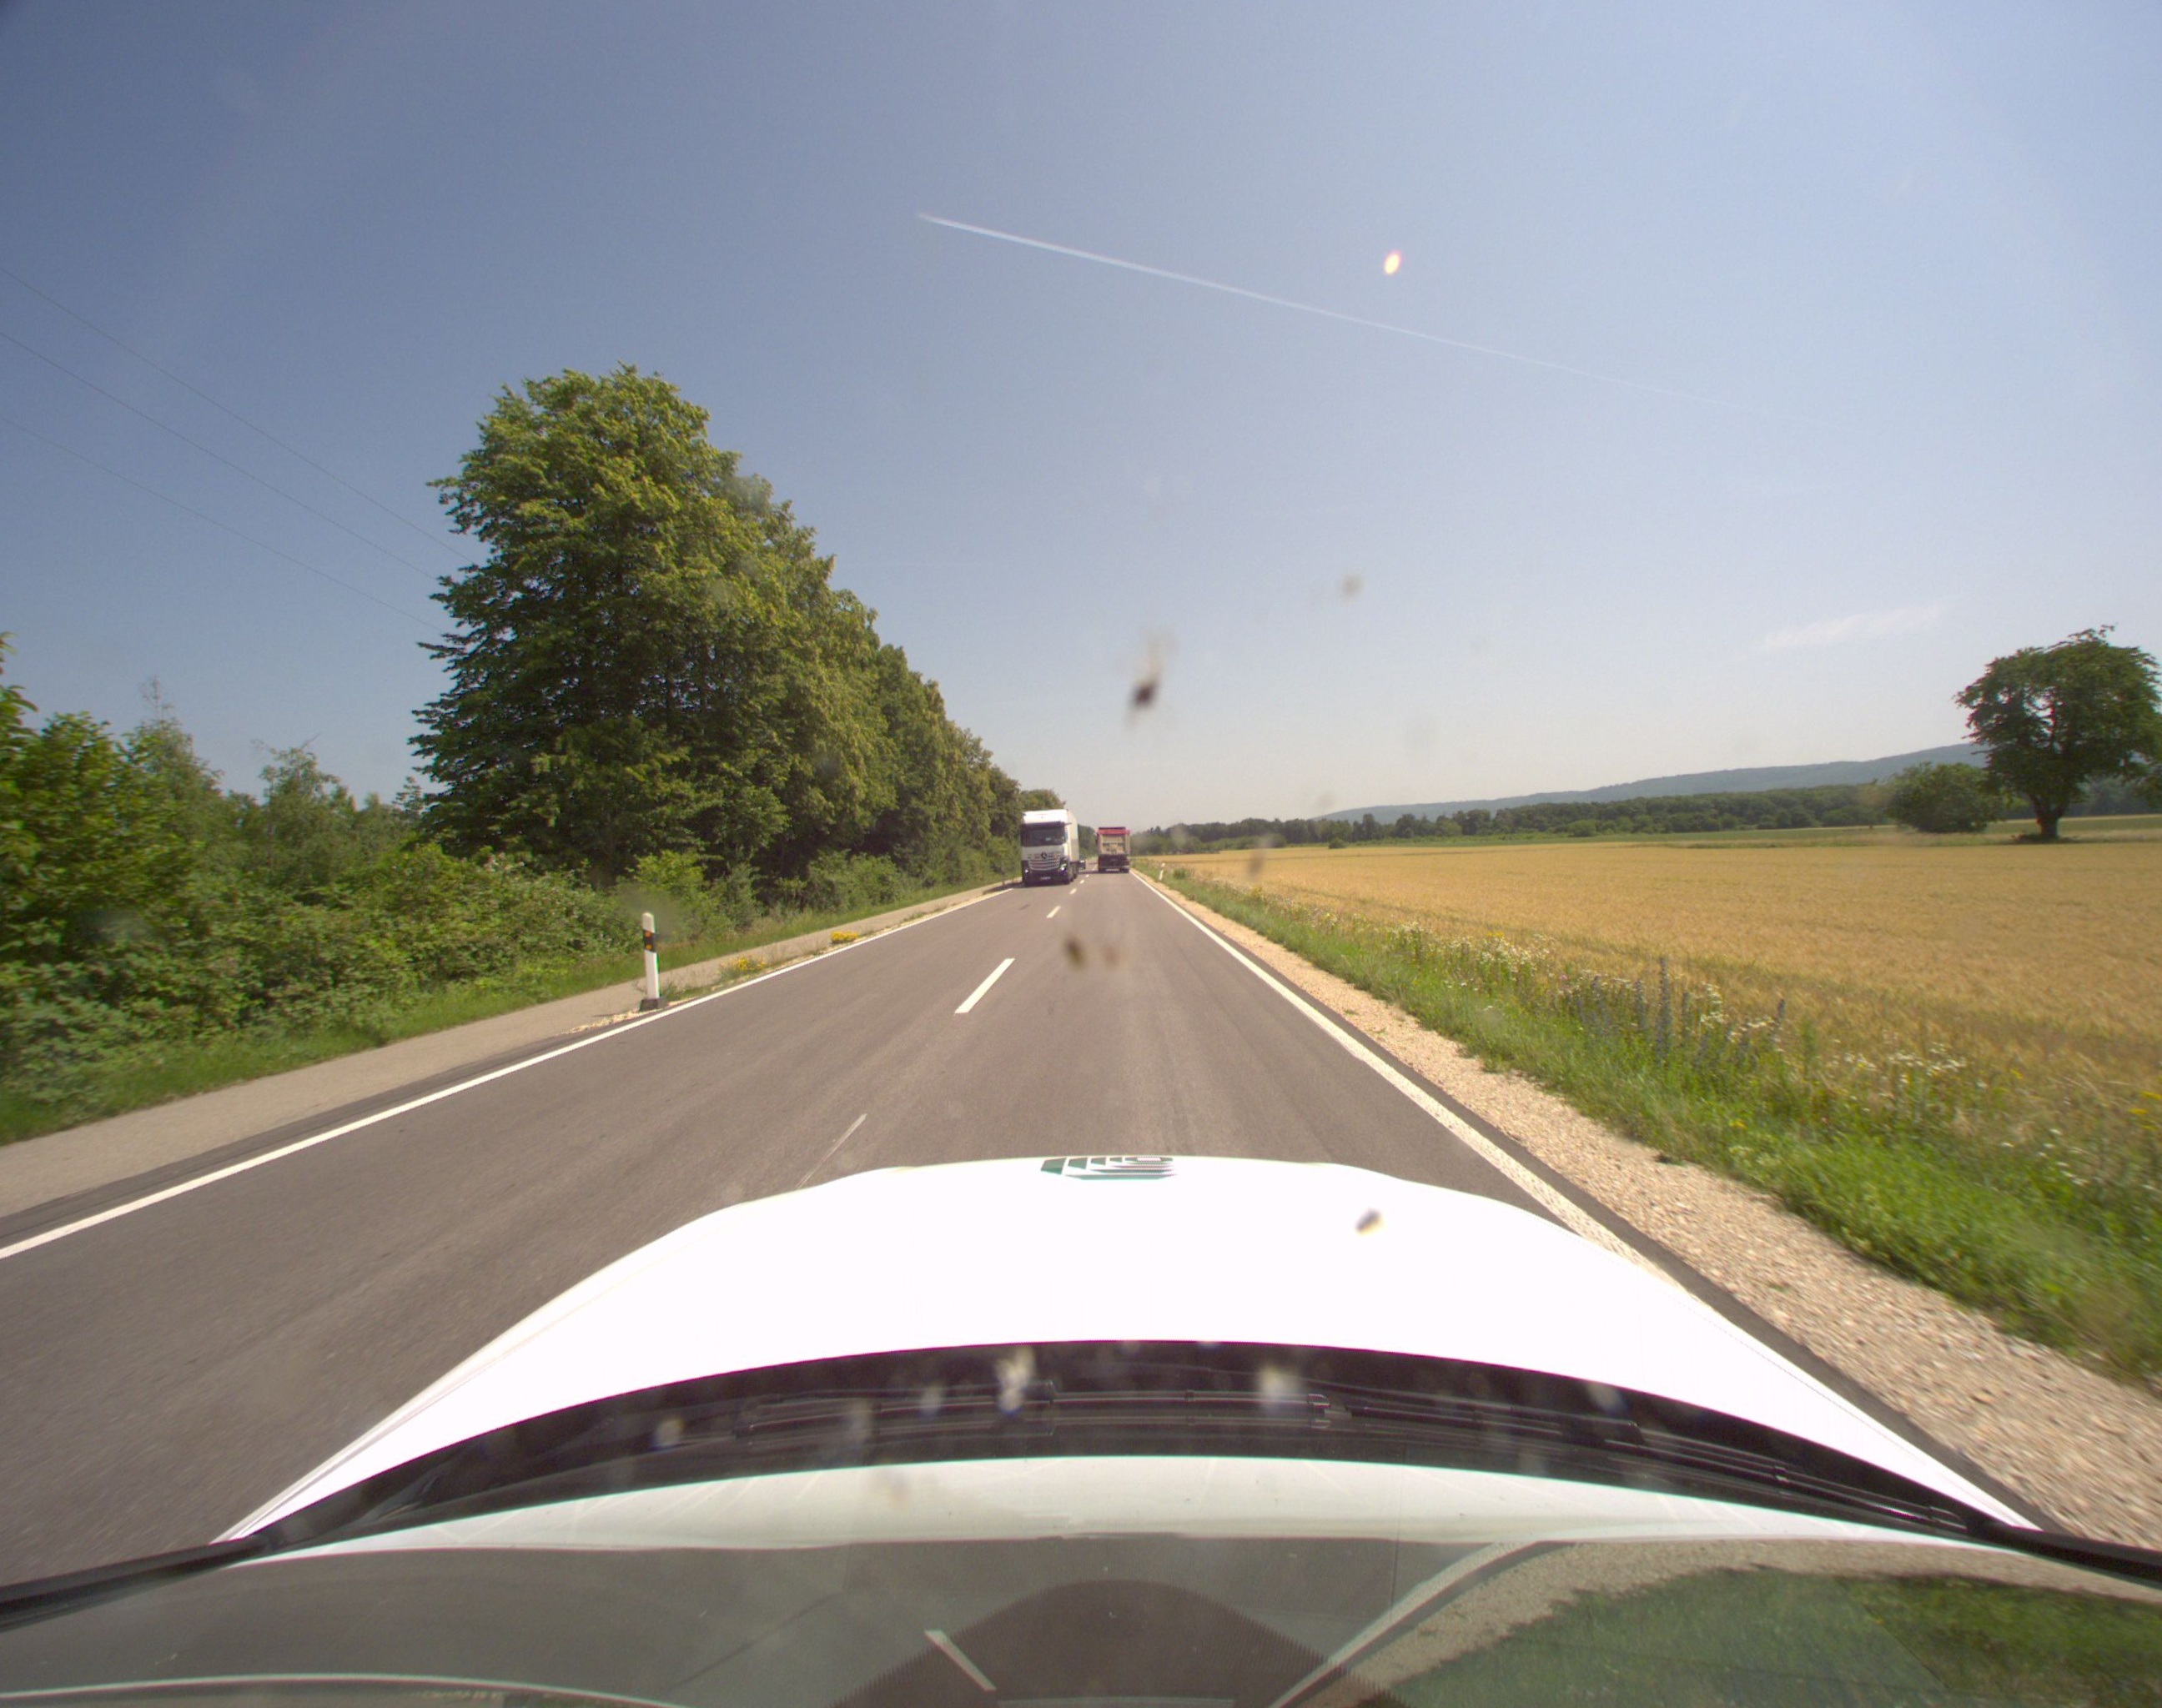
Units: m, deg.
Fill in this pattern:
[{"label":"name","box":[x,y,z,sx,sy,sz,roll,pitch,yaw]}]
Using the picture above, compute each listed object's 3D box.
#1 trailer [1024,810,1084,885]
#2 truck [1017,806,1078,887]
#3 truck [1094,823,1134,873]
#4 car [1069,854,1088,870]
[{"label":"trailer","box":[-1.452,-0.378,51.259,2.643,3.977,13.359,-3,0,2]},{"label":"truck","box":[-1.691,-0.378,44.006,2.646,3.977,5.730,-3,0,2]},{"label":"truck","box":[2.763,-0.419,68.869,2.998,3.874,12.214,0,-1,2]},{"label":"car","box":[-0.236,0.839,85.528,1.785,1.574,4.480,-3,0,1]}]
